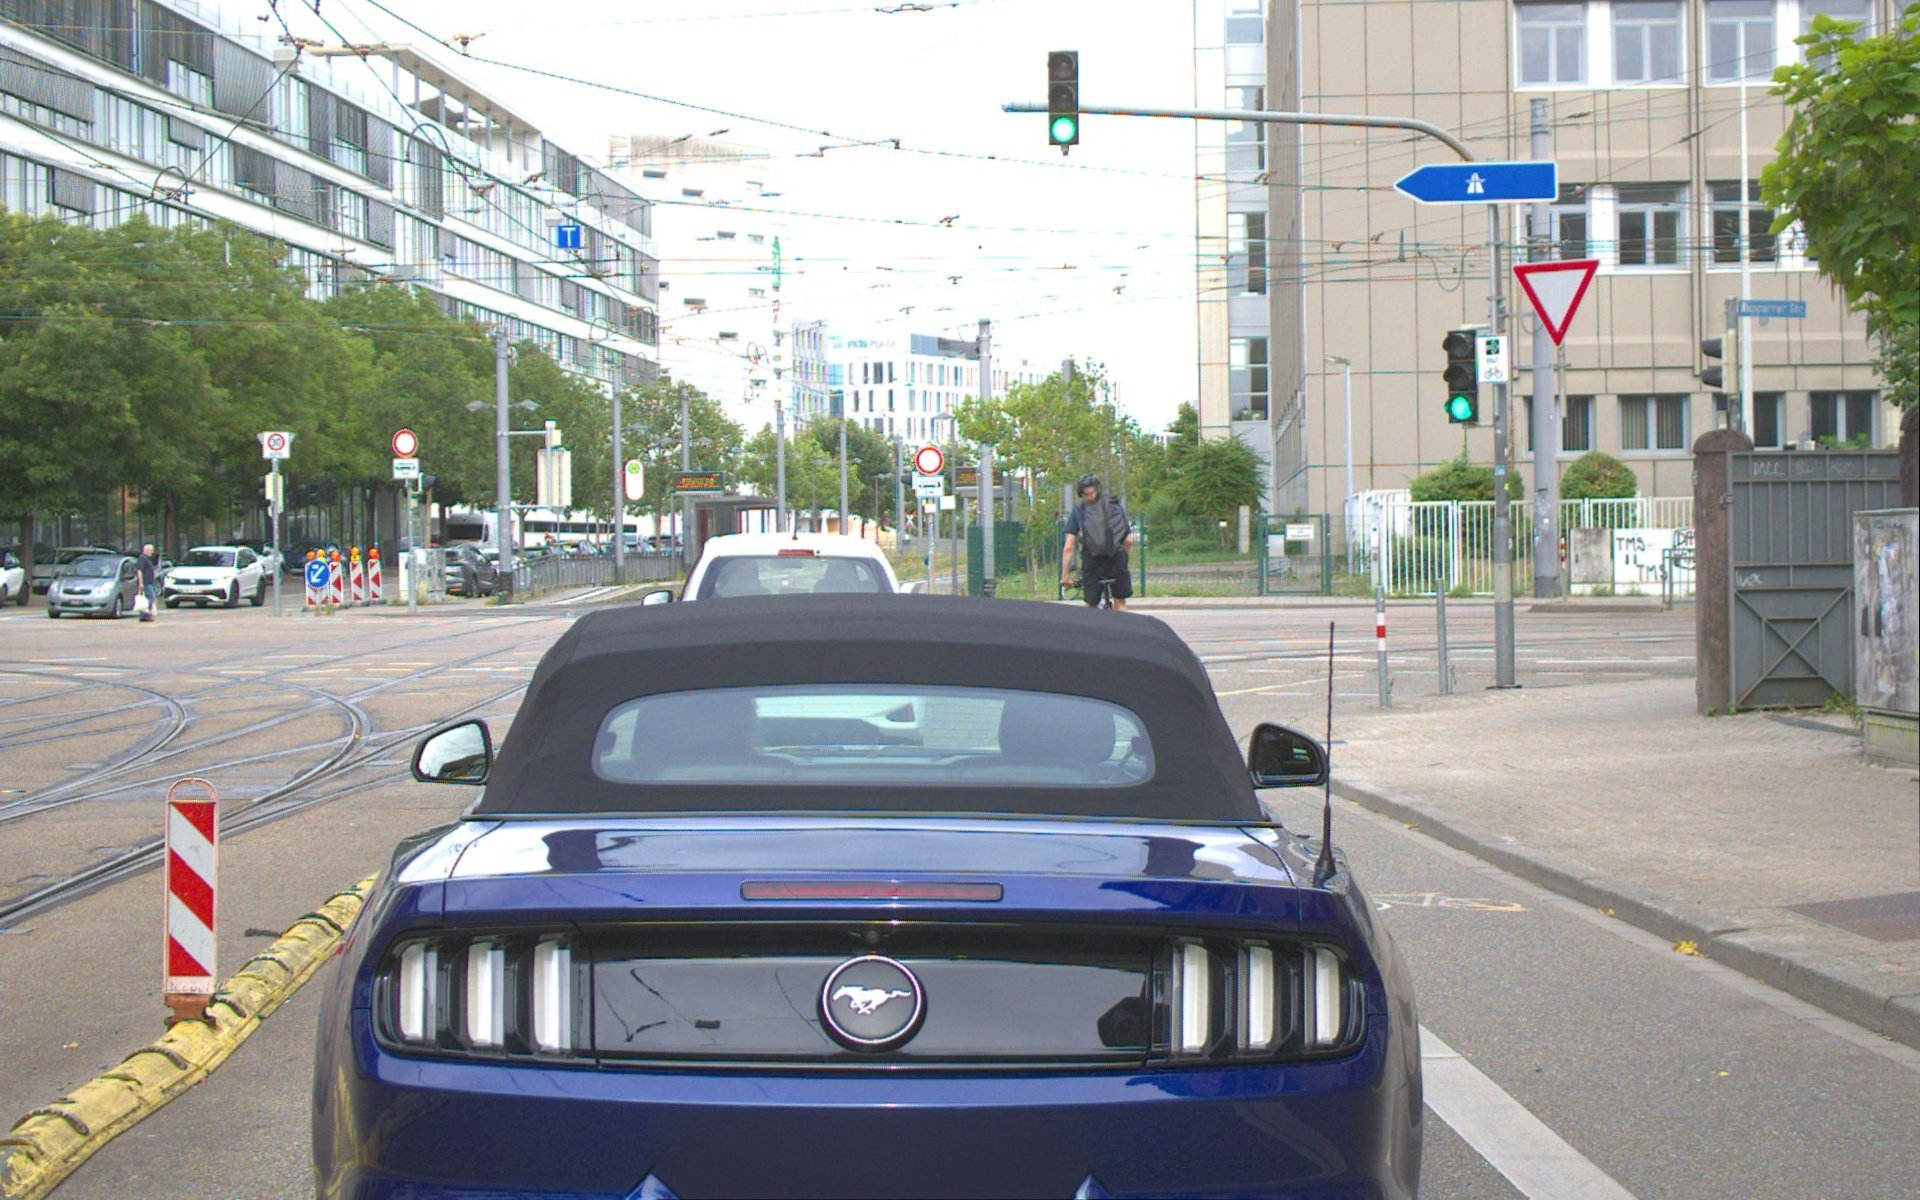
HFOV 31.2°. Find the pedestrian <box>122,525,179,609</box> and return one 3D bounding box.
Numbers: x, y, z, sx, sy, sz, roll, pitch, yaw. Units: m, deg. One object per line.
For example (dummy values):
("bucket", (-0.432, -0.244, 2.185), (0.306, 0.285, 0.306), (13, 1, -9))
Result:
("pedestrian", (-18.096, -0.751, 76.877), (0.989, 1.849, 0.902), (-1, 1, 4))

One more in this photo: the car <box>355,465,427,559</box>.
("car", (-22.385, -3.462, 135.336), (1.986, 3.624, 4.512), (1, 1, 1))

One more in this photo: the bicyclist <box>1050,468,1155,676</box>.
("bicyclist", (1.246, -0.254, 30.295), (0.796, 1.779, 1.233), (-1, 1, -2))

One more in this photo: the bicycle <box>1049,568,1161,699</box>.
("bicycle", (1.261, 0.274, 30.344), (0.800, 1.082, 2.132), (-1, 1, -2))

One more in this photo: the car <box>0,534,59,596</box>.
("car", (-25.447, -0.954, 91.020), (1.830, 1.551, 4.216), (1, 1, 3))

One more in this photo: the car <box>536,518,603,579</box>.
("car", (-13.139, -1.750, 115.950), (1.785, 1.980, 4.121), (-1, 1, -1))

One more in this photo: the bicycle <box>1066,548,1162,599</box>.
("bicycle", (3.233, -0.557, 72.352), (0.632, 0.977, 2.157), (-2, -1, -42))

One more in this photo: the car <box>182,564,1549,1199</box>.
("car", (-0.146, 0.663, 6.886), (1.876, 1.399, 4.282), (1, 1, 0))

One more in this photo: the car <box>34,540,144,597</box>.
("car", (-24.848, -0.916, 98.156), (1.830, 1.551, 4.216), (1, 1, 3))

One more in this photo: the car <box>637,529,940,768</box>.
("car", (-1.222, 0.253, 23.205), (1.835, 1.434, 4.188), (-1, 1, -5))

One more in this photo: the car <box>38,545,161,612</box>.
("car", (-20.742, -0.545, 83.005), (1.668, 1.501, 4.234), (1, 1, 3))

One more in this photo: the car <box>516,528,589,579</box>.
("car", (-13.096, -1.510, 110.785), (1.868, 1.600, 4.213), (-1, 1, -1))

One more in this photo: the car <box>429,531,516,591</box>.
("car", (-13.773, -1.112, 97.253), (1.879, 1.623, 4.087), (-1, 1, -1))

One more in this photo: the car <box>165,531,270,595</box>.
("car", (-20.031, -1.026, 92.909), (1.715, 1.654, 4.133), (1, 1, 3))

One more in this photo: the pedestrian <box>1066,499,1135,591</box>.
("pedestrian", (2.910, -1.141, 71.297), (1.088, 1.891, 0.900), (0, 1, 37))
